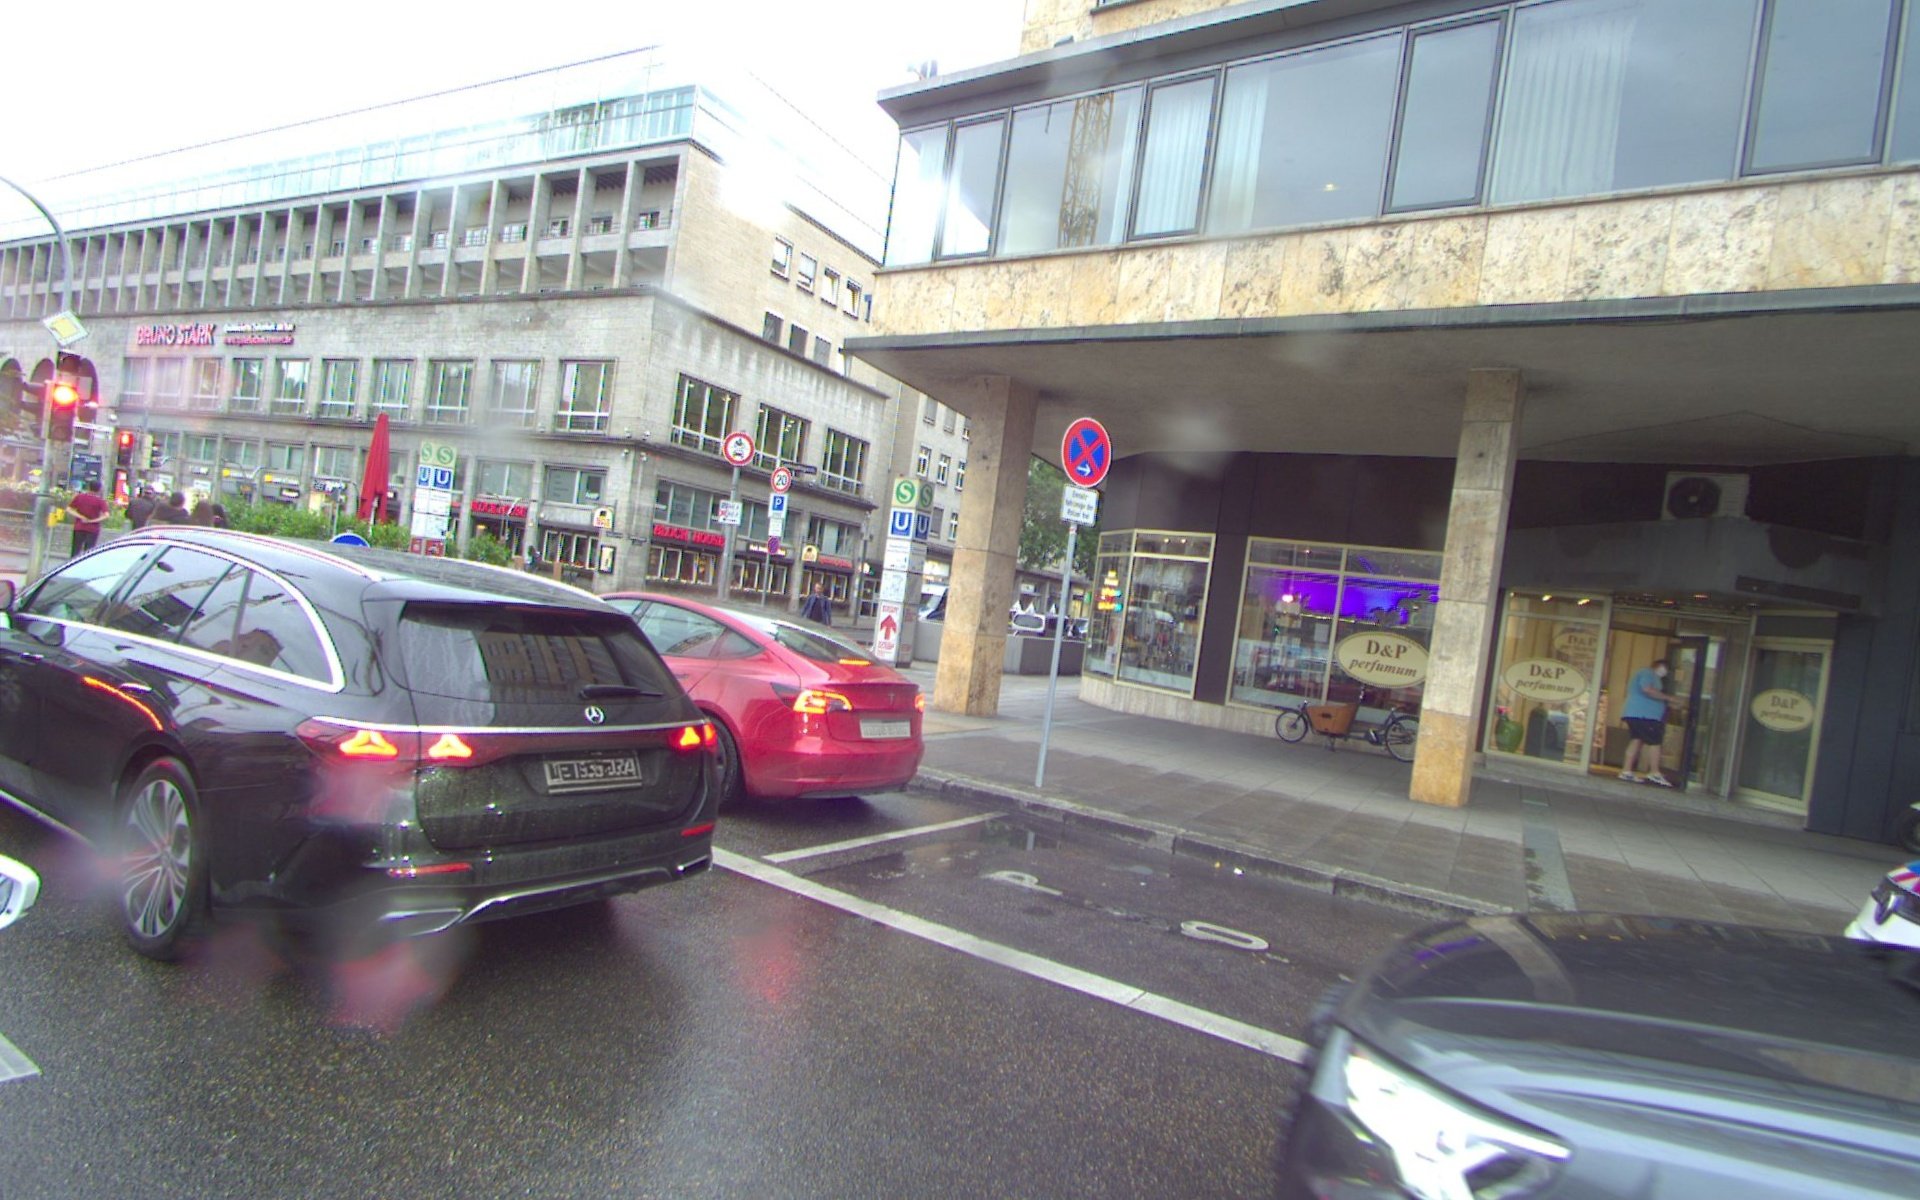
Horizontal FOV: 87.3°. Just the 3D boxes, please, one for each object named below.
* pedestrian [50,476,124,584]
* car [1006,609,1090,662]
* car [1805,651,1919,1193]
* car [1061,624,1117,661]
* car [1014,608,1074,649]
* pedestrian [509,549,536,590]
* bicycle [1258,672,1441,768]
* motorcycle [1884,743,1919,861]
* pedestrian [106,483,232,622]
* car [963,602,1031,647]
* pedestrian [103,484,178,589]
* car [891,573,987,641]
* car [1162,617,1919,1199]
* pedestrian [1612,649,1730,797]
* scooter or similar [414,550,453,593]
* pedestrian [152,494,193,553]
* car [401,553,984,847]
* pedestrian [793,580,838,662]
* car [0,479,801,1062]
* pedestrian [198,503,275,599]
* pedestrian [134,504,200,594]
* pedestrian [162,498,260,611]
[{"bbox_3d":[-15.262,-1.206,17.611,0.561,1.772,0.678,7,-1,-15],"label":"pedestrian"},{"bbox_3d":[4.145,1.676,46.573,1.966,1.995,4.638,7,-1,29],"label":"car"},{"bbox_3d":[5.965,1.422,3.008,4.853,1.942,1.878,6,-2,31],"label":"car"},{"bbox_3d":[9.066,3.029,70.282,1.966,2.065,4.832,7,-2,30],"label":"car"},{"bbox_3d":[5.361,1.848,63.635,1.966,2.065,4.483,7,-2,29],"label":"car"},{"bbox_3d":[-17.607,-1.237,40.527,0.748,1.530,0.714,8,-1,-16],"label":"pedestrian"},{"bbox_3d":[5.914,1.806,15.355,2.431,1.058,0.657,6,-1,32],"label":"bicycle"},{"bbox_3d":[11.141,2.279,10.492,2.074,1.232,0.567,6,-2,40],"label":"motorcycle"},{"bbox_3d":[-10.841,-0.622,13.810,0.642,1.774,1.097,7,2,29],"label":"pedestrian"},{"bbox_3d":[2.208,1.454,58.461,1.966,2.065,4.557,7,-2,29],"label":"car"},{"bbox_3d":[-14.565,-1.125,17.890,0.458,1.737,0.757,7,-1,28],"label":"pedestrian"},{"bbox_3d":[-0.964,0.437,51.389,1.965,2.792,6.187,7,-2,26],"label":"car"},{"bbox_3d":[2.643,1.080,1.348,4.271,1.519,1.882,6,-2,32],"label":"car"},{"bbox_3d":[9.719,1.666,13.747,1.119,1.811,0.798,6,-1,39],"label":"pedestrian"},{"bbox_3d":[-16.366,-0.890,31.269,1.000,1.203,0.291,7,-1,13],"label":"scooter or similar"},{"bbox_3d":[-29.802,-2.884,38.069,0.754,2.037,0.822,8,-1,-16],"label":"pedestrian"},{"bbox_3d":[-2.268,0.655,8.160,4.451,1.503,1.878,6,-2,31],"label":"car"},{"bbox_3d":[-3.328,0.481,23.165,0.768,1.777,0.503,8,-1,-15],"label":"pedestrian"},{"bbox_3d":[-3.158,0.392,4.742,4.552,1.519,1.797,6,-2,32],"label":"car"},{"bbox_3d":[-13.350,-0.887,18.572,0.609,1.627,0.801,7,-1,28],"label":"pedestrian"},{"bbox_3d":[-14.045,-0.897,17.821,0.360,1.491,0.680,7,-1,27],"label":"pedestrian"},{"bbox_3d":[-11.902,-0.715,16.000,0.884,1.645,0.795,7,-1,28],"label":"pedestrian"}]
